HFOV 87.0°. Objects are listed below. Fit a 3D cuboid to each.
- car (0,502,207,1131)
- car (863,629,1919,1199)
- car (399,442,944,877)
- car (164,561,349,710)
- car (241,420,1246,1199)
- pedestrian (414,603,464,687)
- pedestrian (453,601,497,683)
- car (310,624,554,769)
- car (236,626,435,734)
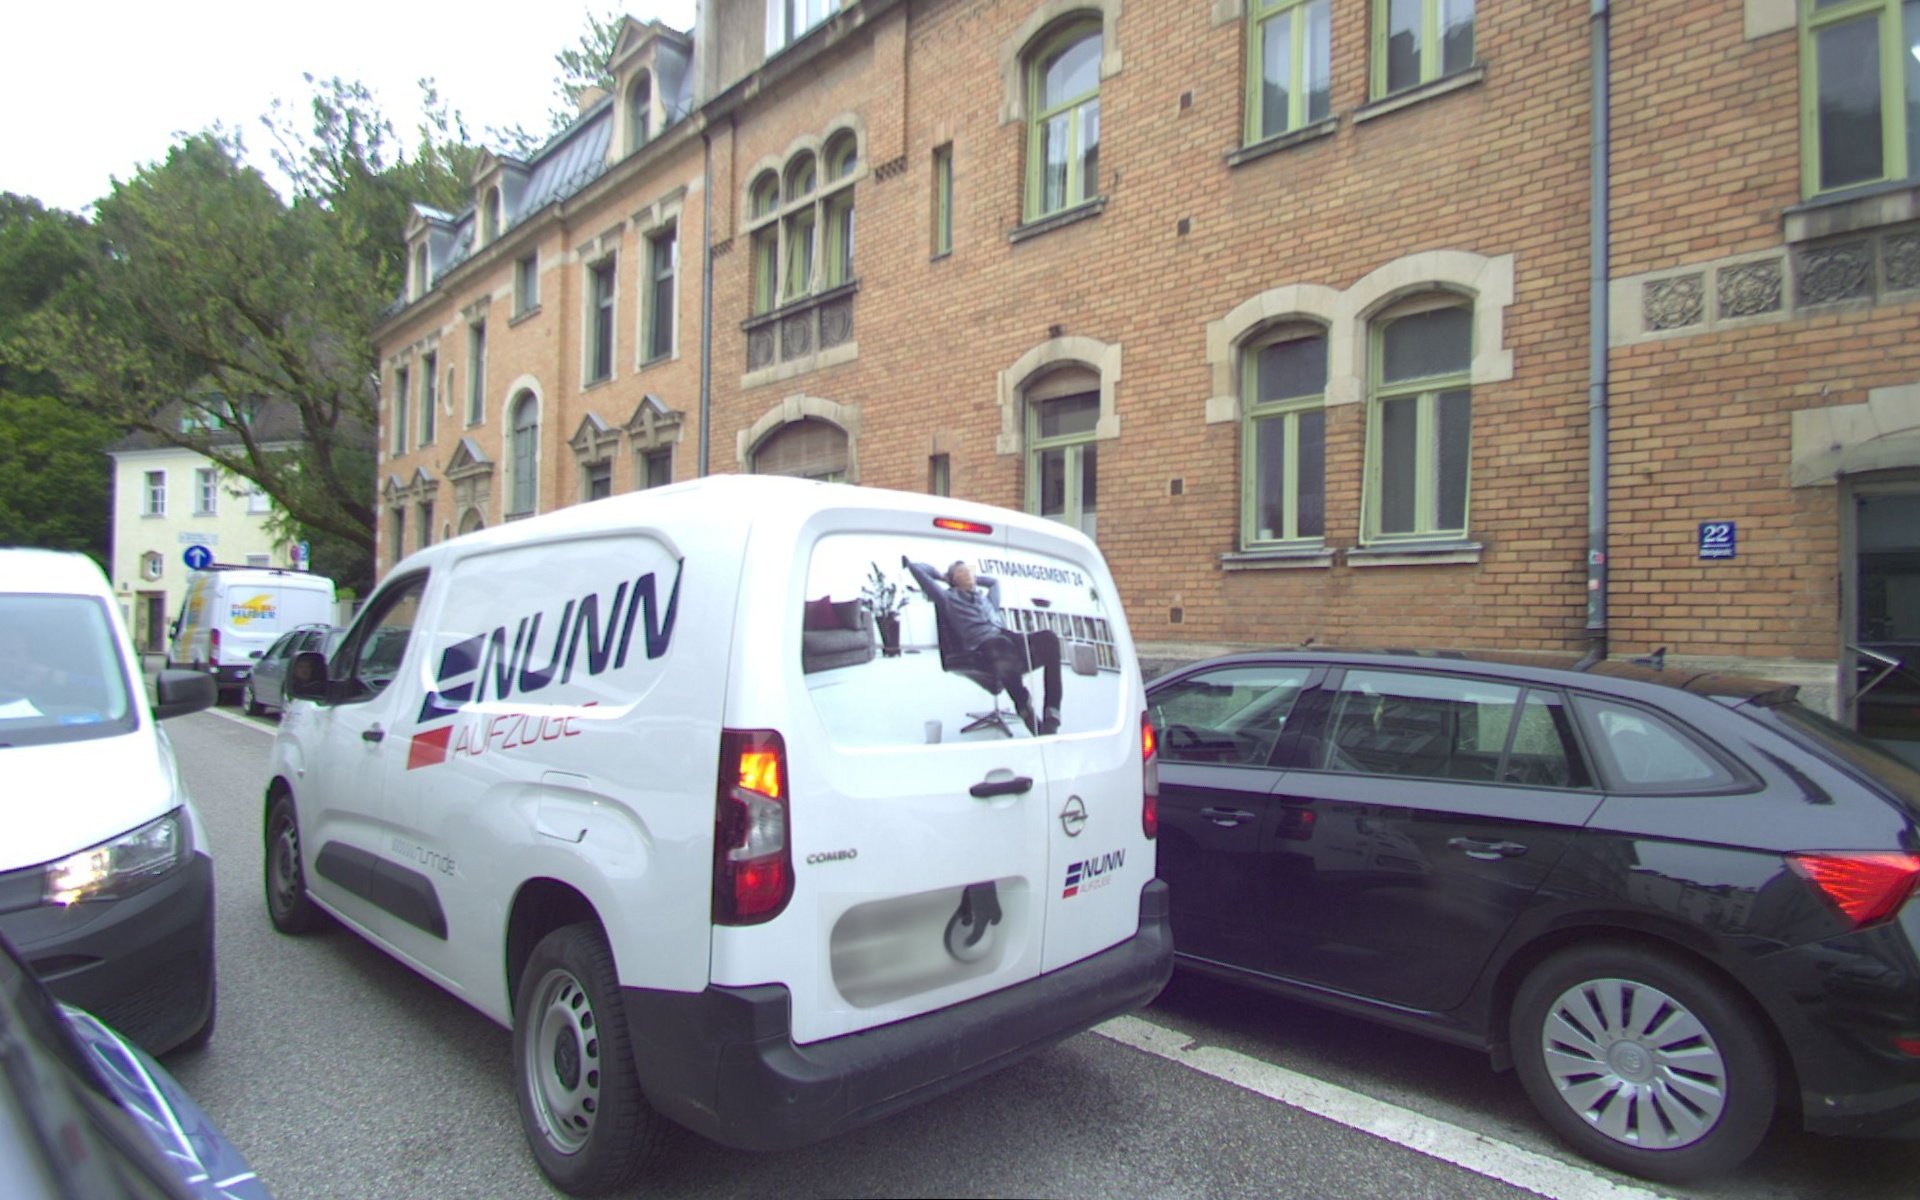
[{"bbox_3d":[-4.413,0.635,4.032,1.751,1.785,4.003,1,-2,-44],"label":"car"},{"bbox_3d":[1.589,0.885,4.161,4.147,1.454,1.670,-1,-4,45],"label":"car"},{"bbox_3d":[-2.675,0.417,8.364,5.225,2.497,1.959,-1,-4,45],"label":"car"},{"bbox_3d":[-13.797,0.737,19.748,2.089,2.560,4.424,6,-6,-44],"label":"car"},{"bbox_3d":[-1.356,0.622,4.095,4.574,1.817,1.751,-1,-2,45],"label":"car"},{"bbox_3d":[-10.355,0.898,20.125,0.625,1.645,0.675,5,-4,-44],"label":"pedestrian"},{"bbox_3d":[-9.876,0.862,20.617,0.625,1.645,0.467,5,-4,-45],"label":"pedestrian"},{"bbox_3d":[-6.336,1.047,11.989,3.542,1.454,1.505,-2,-4,45],"label":"car"},{"bbox_3d":[-9.741,1.164,15.661,3.986,1.454,1.671,-2,-4,45],"label":"car"}]
